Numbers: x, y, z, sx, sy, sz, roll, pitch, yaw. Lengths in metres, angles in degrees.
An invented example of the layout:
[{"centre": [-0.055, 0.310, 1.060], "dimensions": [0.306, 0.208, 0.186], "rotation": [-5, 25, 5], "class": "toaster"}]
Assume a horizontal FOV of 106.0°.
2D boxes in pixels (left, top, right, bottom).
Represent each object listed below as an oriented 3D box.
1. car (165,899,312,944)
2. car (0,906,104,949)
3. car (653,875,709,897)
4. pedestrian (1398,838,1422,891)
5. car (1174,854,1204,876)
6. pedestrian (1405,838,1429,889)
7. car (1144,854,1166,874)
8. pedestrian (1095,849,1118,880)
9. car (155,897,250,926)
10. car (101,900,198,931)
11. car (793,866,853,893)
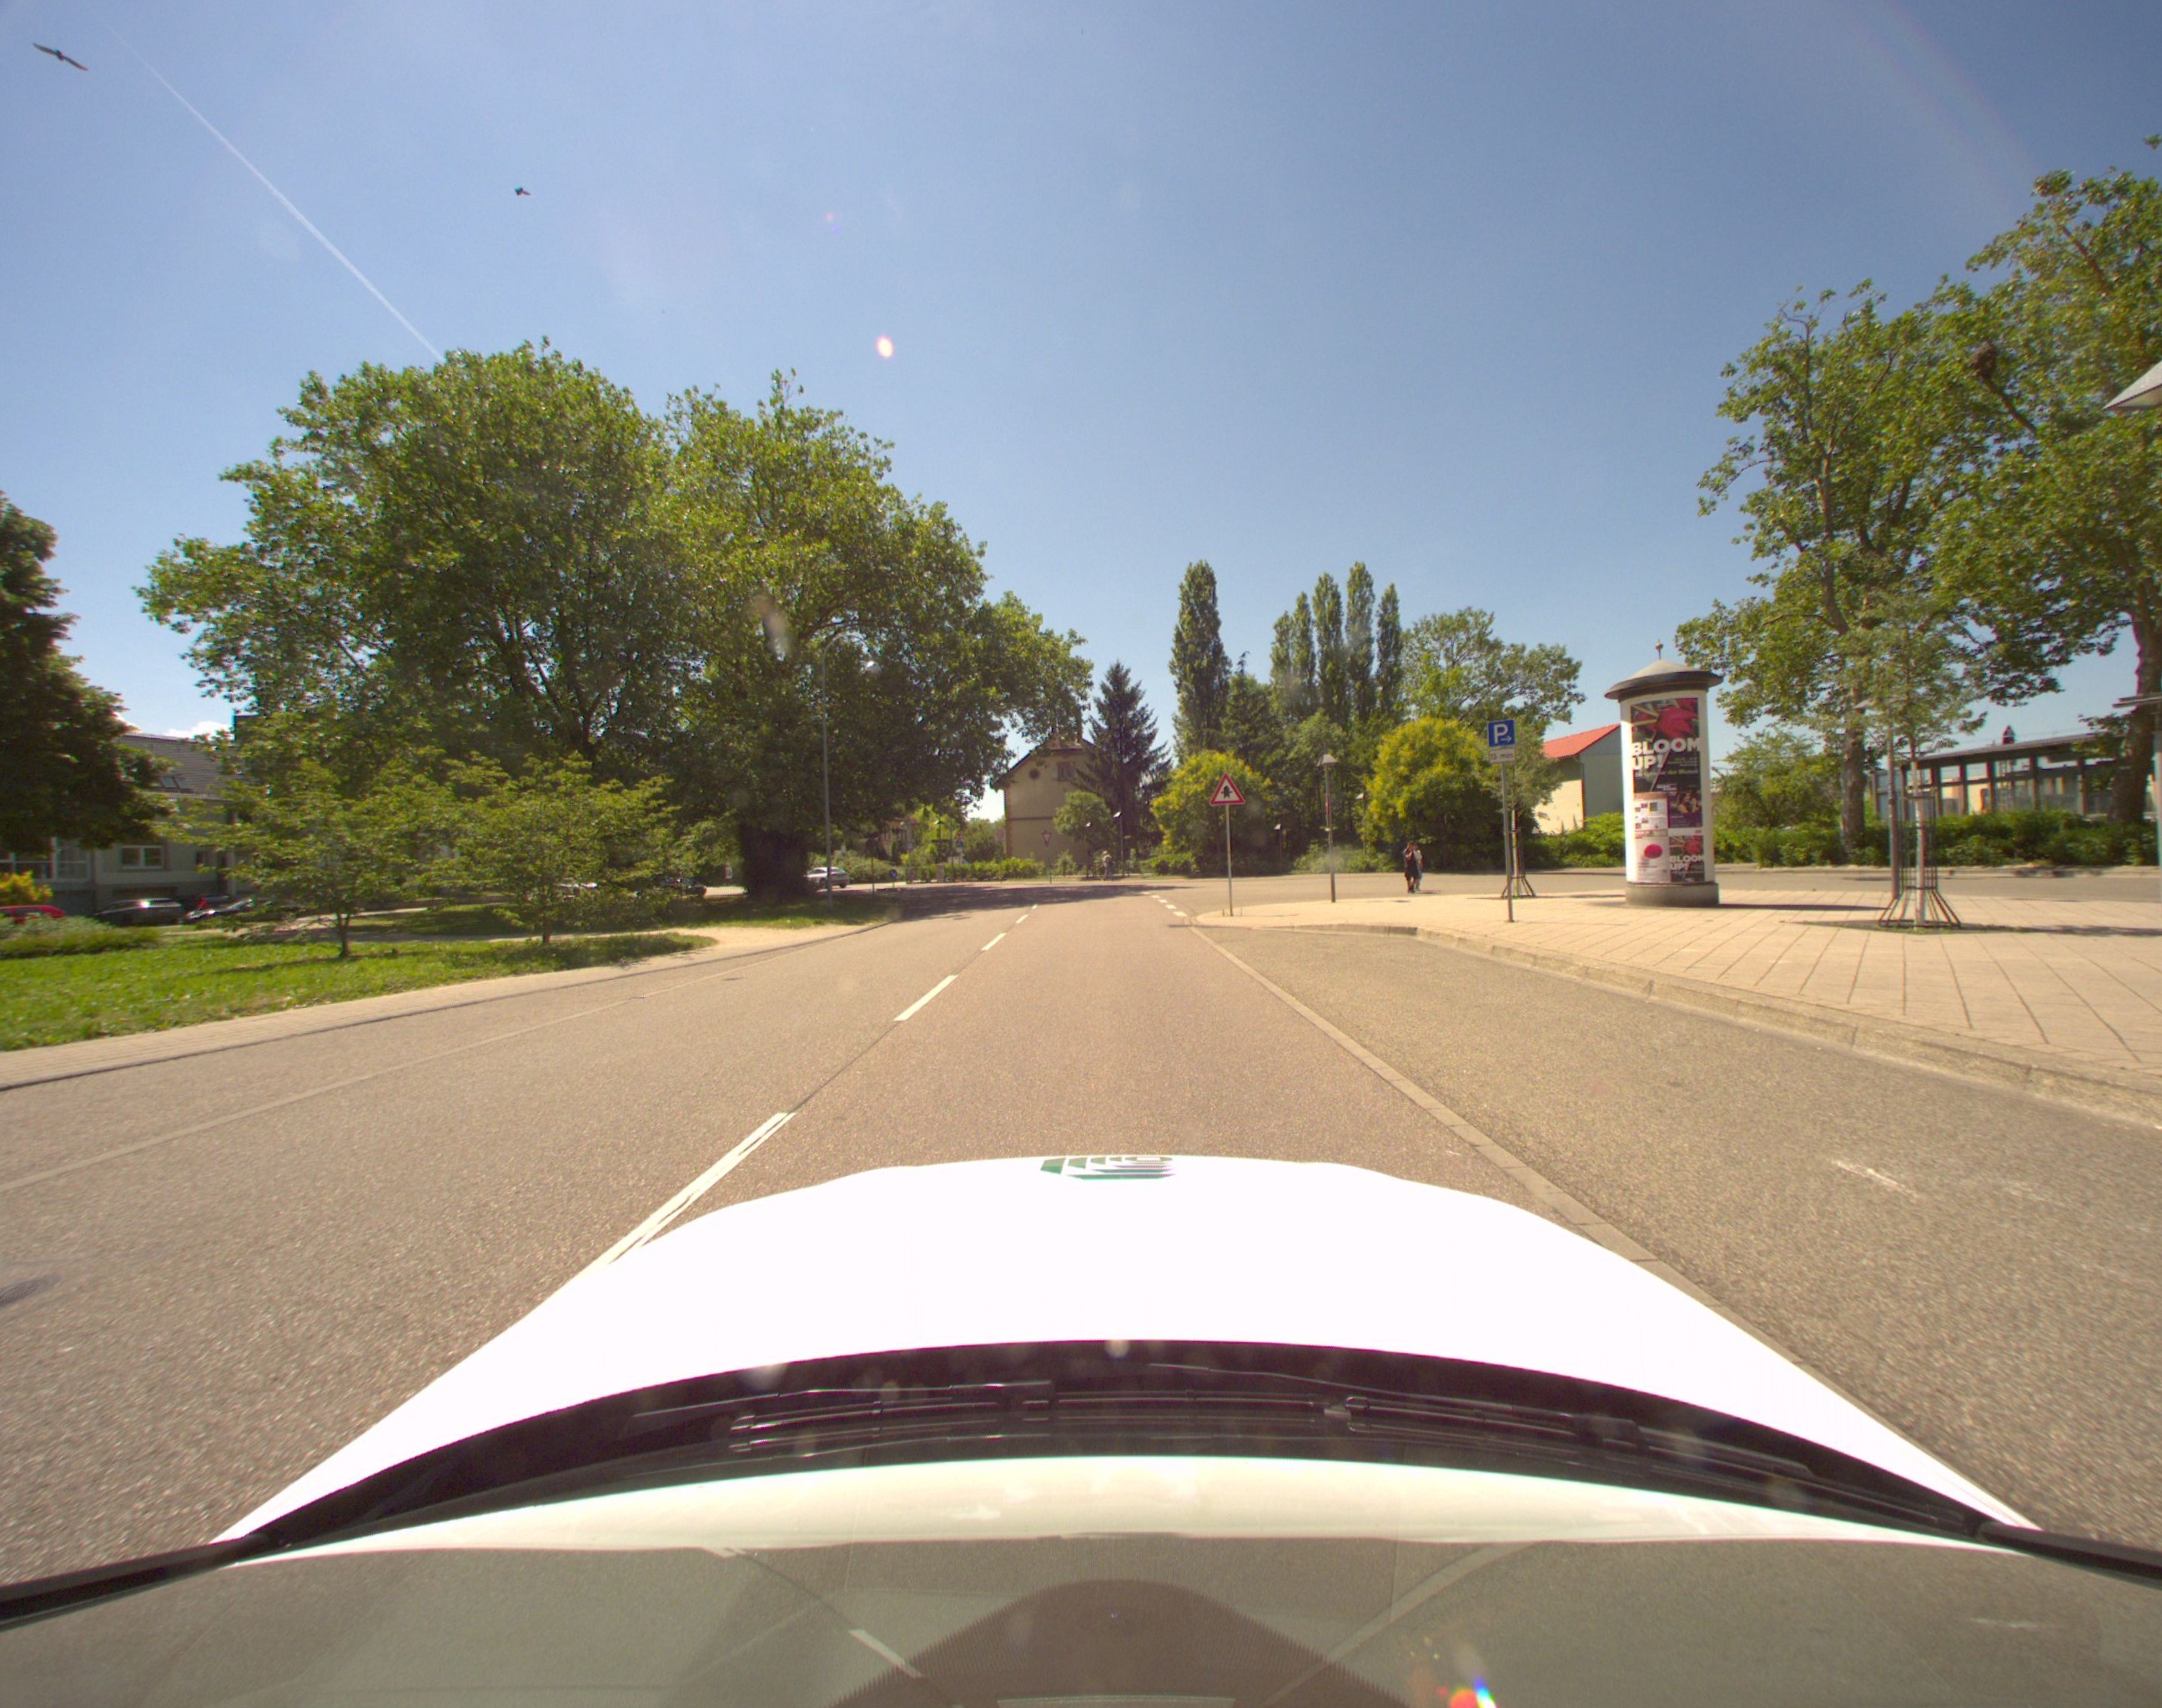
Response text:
[{"centre": [-40.637, 3.200, 39.436], "dimensions": [1.975, 1.778, 4.533], "rotation": [-2, 0, 27], "class": "car"}, {"centre": [-46.020, 3.207, 35.137], "dimensions": [1.975, 1.618, 4.532], "rotation": [-2, 0, 24], "class": "car"}, {"centre": [-29.836, 2.371, 60.746], "dimensions": [3.950, 1.417, 1.656], "rotation": [-3, 1, 27], "class": "car"}, {"centre": [11.272, 0.350, 27.927], "dimensions": [0.687, 1.785, 0.920], "rotation": [-2, -1, 20], "class": "pedestrian"}, {"centre": [8.088, 0.815, 61.375], "dimensions": [1.758, 1.499, 4.501], "rotation": [-2, 0, 2], "class": "car"}, {"centre": [11.915, 0.330, 28.892], "dimensions": [0.668, 1.736, 0.920], "rotation": [-2, -1, 20], "class": "pedestrian"}, {"centre": [6.001, 0.775, 65.973], "dimensions": [1.642, 1.536, 3.976], "rotation": [-2, 0, 6], "class": "car"}, {"centre": [1.566, 0.653, 49.423], "dimensions": [0.920, 1.771, 0.905], "rotation": [-6, 2, -39], "class": "pedestrian"}, {"centre": [-48.964, 3.213, 45.406], "dimensions": [3.957, 1.426, 2.008], "rotation": [-2, -1, 16], "class": "car"}, {"centre": [-48.646, 3.209, 42.527], "dimensions": [3.955, 1.435, 1.889], "rotation": [-2, -1, 18], "class": "car"}, {"centre": [-19.747, 1.965, 62.244], "dimensions": [4.413, 1.615, 1.953], "rotation": [-5, -11, 33], "class": "car"}]
